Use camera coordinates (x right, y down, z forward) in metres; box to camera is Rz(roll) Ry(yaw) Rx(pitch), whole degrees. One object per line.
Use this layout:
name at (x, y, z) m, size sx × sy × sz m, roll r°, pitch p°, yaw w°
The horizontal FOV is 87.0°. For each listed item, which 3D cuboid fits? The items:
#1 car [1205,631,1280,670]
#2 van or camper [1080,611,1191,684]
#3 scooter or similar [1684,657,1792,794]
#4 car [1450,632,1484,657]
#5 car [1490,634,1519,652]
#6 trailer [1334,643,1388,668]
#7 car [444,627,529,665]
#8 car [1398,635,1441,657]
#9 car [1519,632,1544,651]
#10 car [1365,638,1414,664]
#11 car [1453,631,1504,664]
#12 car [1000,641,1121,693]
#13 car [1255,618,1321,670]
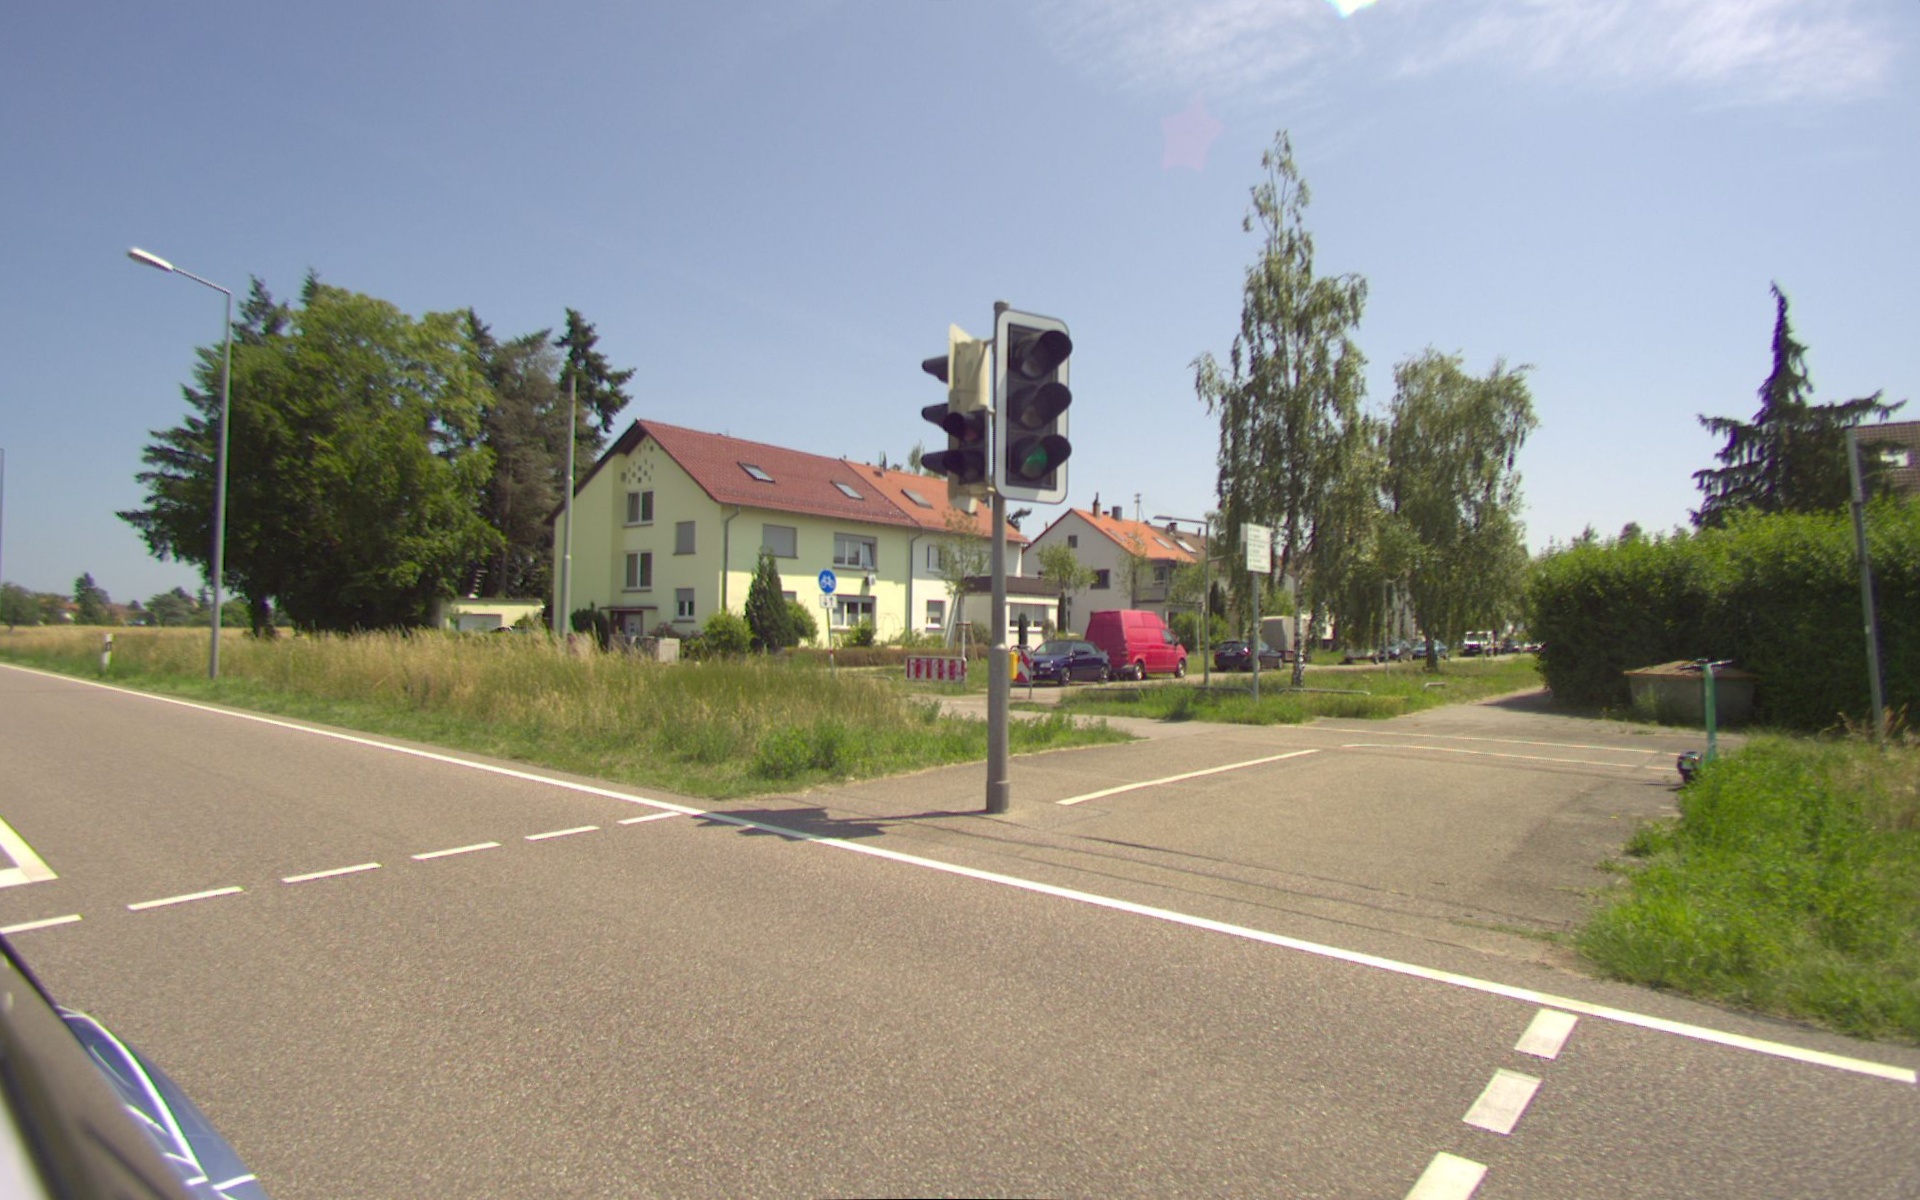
car at (12.393, 2.177, 44.318) m, size 1.866 × 1.530 × 3.950 m, roll -1°, pitch -1°, yaw 37°
van or camper at (6.295, 1.593, 35.959) m, size 1.996 × 2.406 × 4.710 m, roll -1°, pitch -1°, yaw 36°
scooter or similar at (7.091, 1.104, 9.266) m, size 0.646 × 1.136 × 1.010 m, roll -1°, pitch -2°, yaw 31°
car at (43.505, 3.750, 86.812) m, size 1.866 × 1.985 × 4.432 m, roll -1°, pitch -1°, yaw 37°
car at (55.232, 4.326, 102.637) m, size 1.866 × 1.712 × 4.432 m, roll -1°, pitch -1°, yaw 37°
trailer at (23.628, 3.231, 59.568) m, size 1.866 × 1.234 × 4.431 m, roll -1°, pitch -1°, yaw 37°
car at (-20.007, 1.894, 42.720) m, size 4.183 × 1.503 × 1.689 m, roll -1°, pitch -1°, yaw 40°
car at (33.165, 3.291, 72.972) m, size 1.866 × 1.455 × 4.432 m, roll -1°, pitch -1°, yaw 37°
car at (64.067, 4.590, 113.493) m, size 1.866 × 1.985 × 4.432 m, roll -1°, pitch -1°, yaw 37°
car at (27.413, 3.226, 64.542) m, size 1.866 × 1.455 × 4.432 m, roll -1°, pitch -1°, yaw 37°
car at (23.394, 2.129, 45.608) m, size 1.567 × 1.347 × 3.264 m, roll -1°, pitch -1°, yaw 36°
car at (3.184, 2.029, 31.439) m, size 1.996 × 1.364 × 3.951 m, roll -1°, pitch -1°, yaw 36°
car at (16.127, 2.089, 49.664) m, size 1.866 × 2.418 × 3.950 m, roll -1°, pitch -1°, yaw 37°
